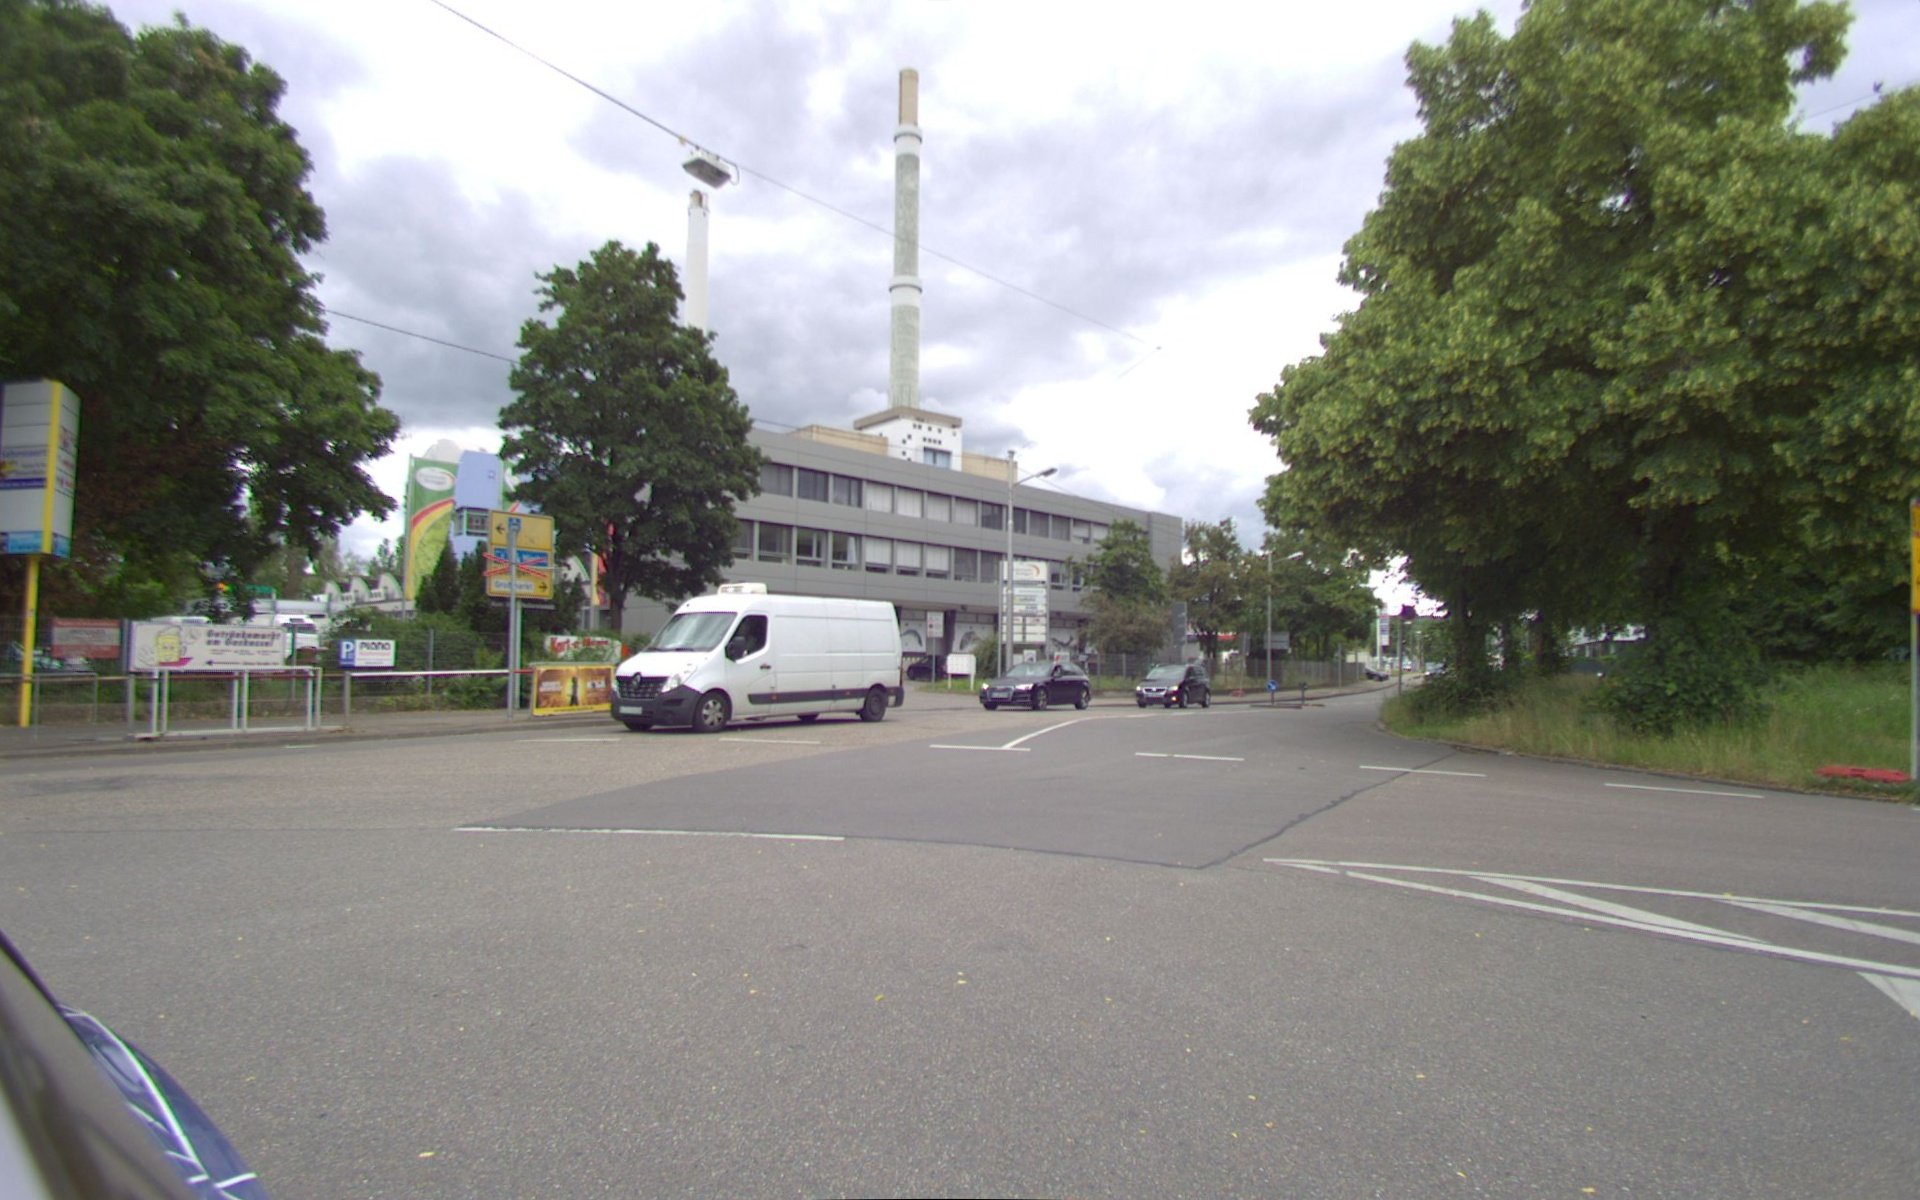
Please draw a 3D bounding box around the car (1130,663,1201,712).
[{"bbox_3d":[7.624,3.171,37.219,1.784,1.653,4.407,-1,-4,22],"label":"car"}]

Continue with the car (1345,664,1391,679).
[{"bbox_3d":[53.198,9.326,131.959,5.435,1.884,2.009,-2,-4,26],"label":"car"}]

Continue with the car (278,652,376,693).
[{"bbox_3d":[-20.687,2.364,33.051,3.700,1.258,1.686,-3,-5,41],"label":"car"}]

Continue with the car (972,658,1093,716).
[{"bbox_3d":[2.195,2.484,29.470,1.858,1.524,4.396,-2,-4,29],"label":"car"}]

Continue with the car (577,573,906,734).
[{"bbox_3d":[-3.745,1.032,18.786,2.383,2.478,6.030,-3,-5,33],"label":"car"}]

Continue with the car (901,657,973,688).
[{"bbox_3d":[-1.298,3.933,55.473,2.015,1.456,4.844,2,-2,-27],"label":"car"}]

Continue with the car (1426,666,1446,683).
[{"bbox_3d":[49.385,7.710,104.958,1.786,1.653,4.403,-2,-4,25],"label":"car"}]

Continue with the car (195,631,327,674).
[{"bbox_3d":[-47.678,3.652,69.173,2.244,2.754,7.050,-3,-6,44],"label":"car"}]

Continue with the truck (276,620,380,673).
[{"bbox_3d":[-51.635,3.873,82.355,15.724,3.964,2.812,-3,-5,42],"label":"truck"}]

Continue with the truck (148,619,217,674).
[{"bbox_3d":[-63.385,3.840,82.368,9.191,4.198,2.956,-3,-5,44],"label":"truck"}]

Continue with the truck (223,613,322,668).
[{"bbox_3d":[-54.121,3.323,79.317,15.727,3.964,2.812,-3,-5,43],"label":"truck"}]
